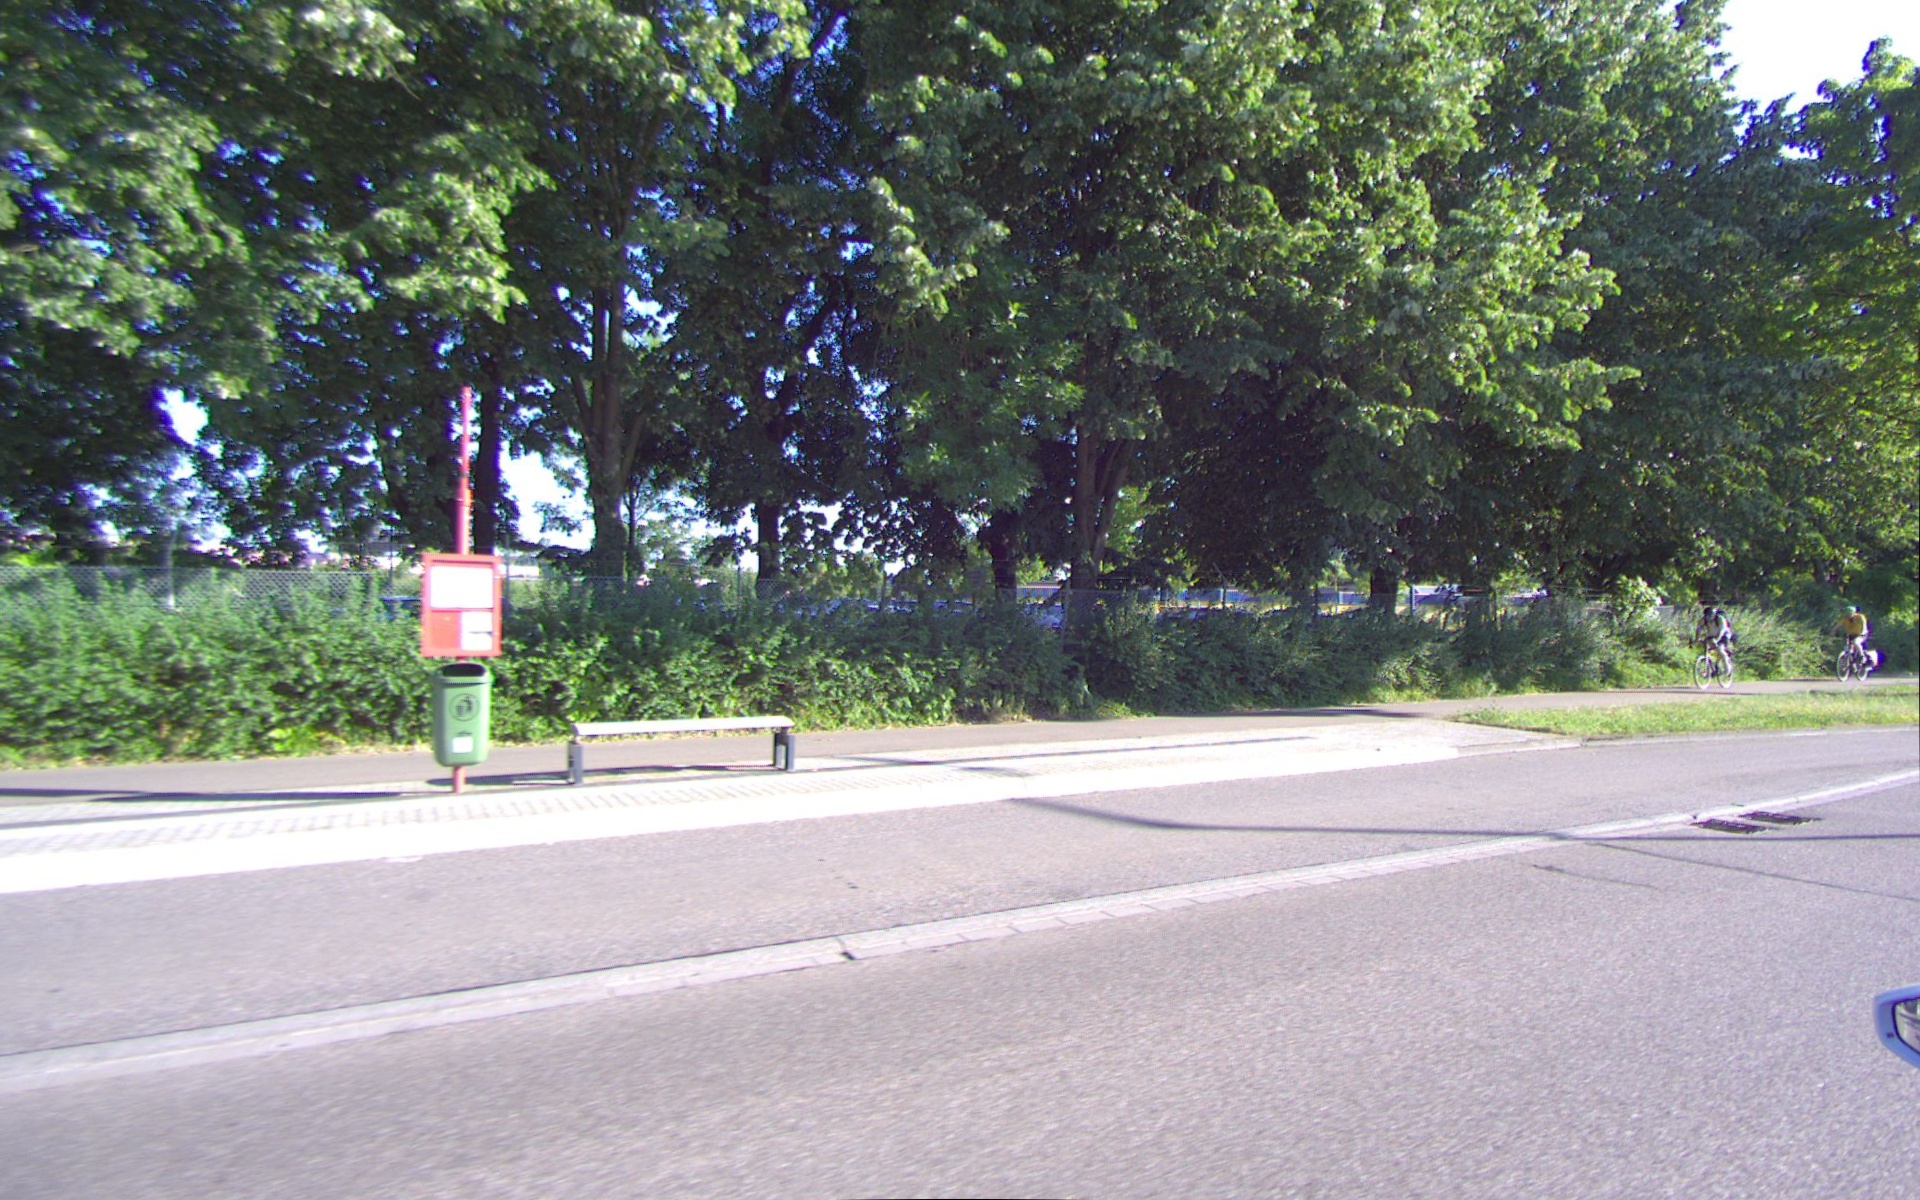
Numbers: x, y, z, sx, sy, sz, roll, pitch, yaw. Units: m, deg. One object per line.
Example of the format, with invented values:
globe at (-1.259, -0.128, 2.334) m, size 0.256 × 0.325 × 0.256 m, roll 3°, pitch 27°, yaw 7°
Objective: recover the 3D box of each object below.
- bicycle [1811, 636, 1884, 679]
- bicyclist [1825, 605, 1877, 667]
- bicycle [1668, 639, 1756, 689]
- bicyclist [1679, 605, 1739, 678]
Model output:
bicycle at (22.758, 1.462, 25.743) m, size 2.191 × 1.053 × 0.762 m, roll 1°, pitch -2°, yaw -31°
bicyclist at (22.872, 0.927, 25.796) m, size 0.940 × 1.550 × 0.727 m, roll 1°, pitch -2°, yaw -30°
bicycle at (16.534, 1.384, 22.071) m, size 2.191 × 1.053 × 0.762 m, roll 1°, pitch -2°, yaw -31°
bicyclist at (16.386, 0.895, 21.986) m, size 0.940 × 1.550 × 0.727 m, roll 1°, pitch -2°, yaw -30°
